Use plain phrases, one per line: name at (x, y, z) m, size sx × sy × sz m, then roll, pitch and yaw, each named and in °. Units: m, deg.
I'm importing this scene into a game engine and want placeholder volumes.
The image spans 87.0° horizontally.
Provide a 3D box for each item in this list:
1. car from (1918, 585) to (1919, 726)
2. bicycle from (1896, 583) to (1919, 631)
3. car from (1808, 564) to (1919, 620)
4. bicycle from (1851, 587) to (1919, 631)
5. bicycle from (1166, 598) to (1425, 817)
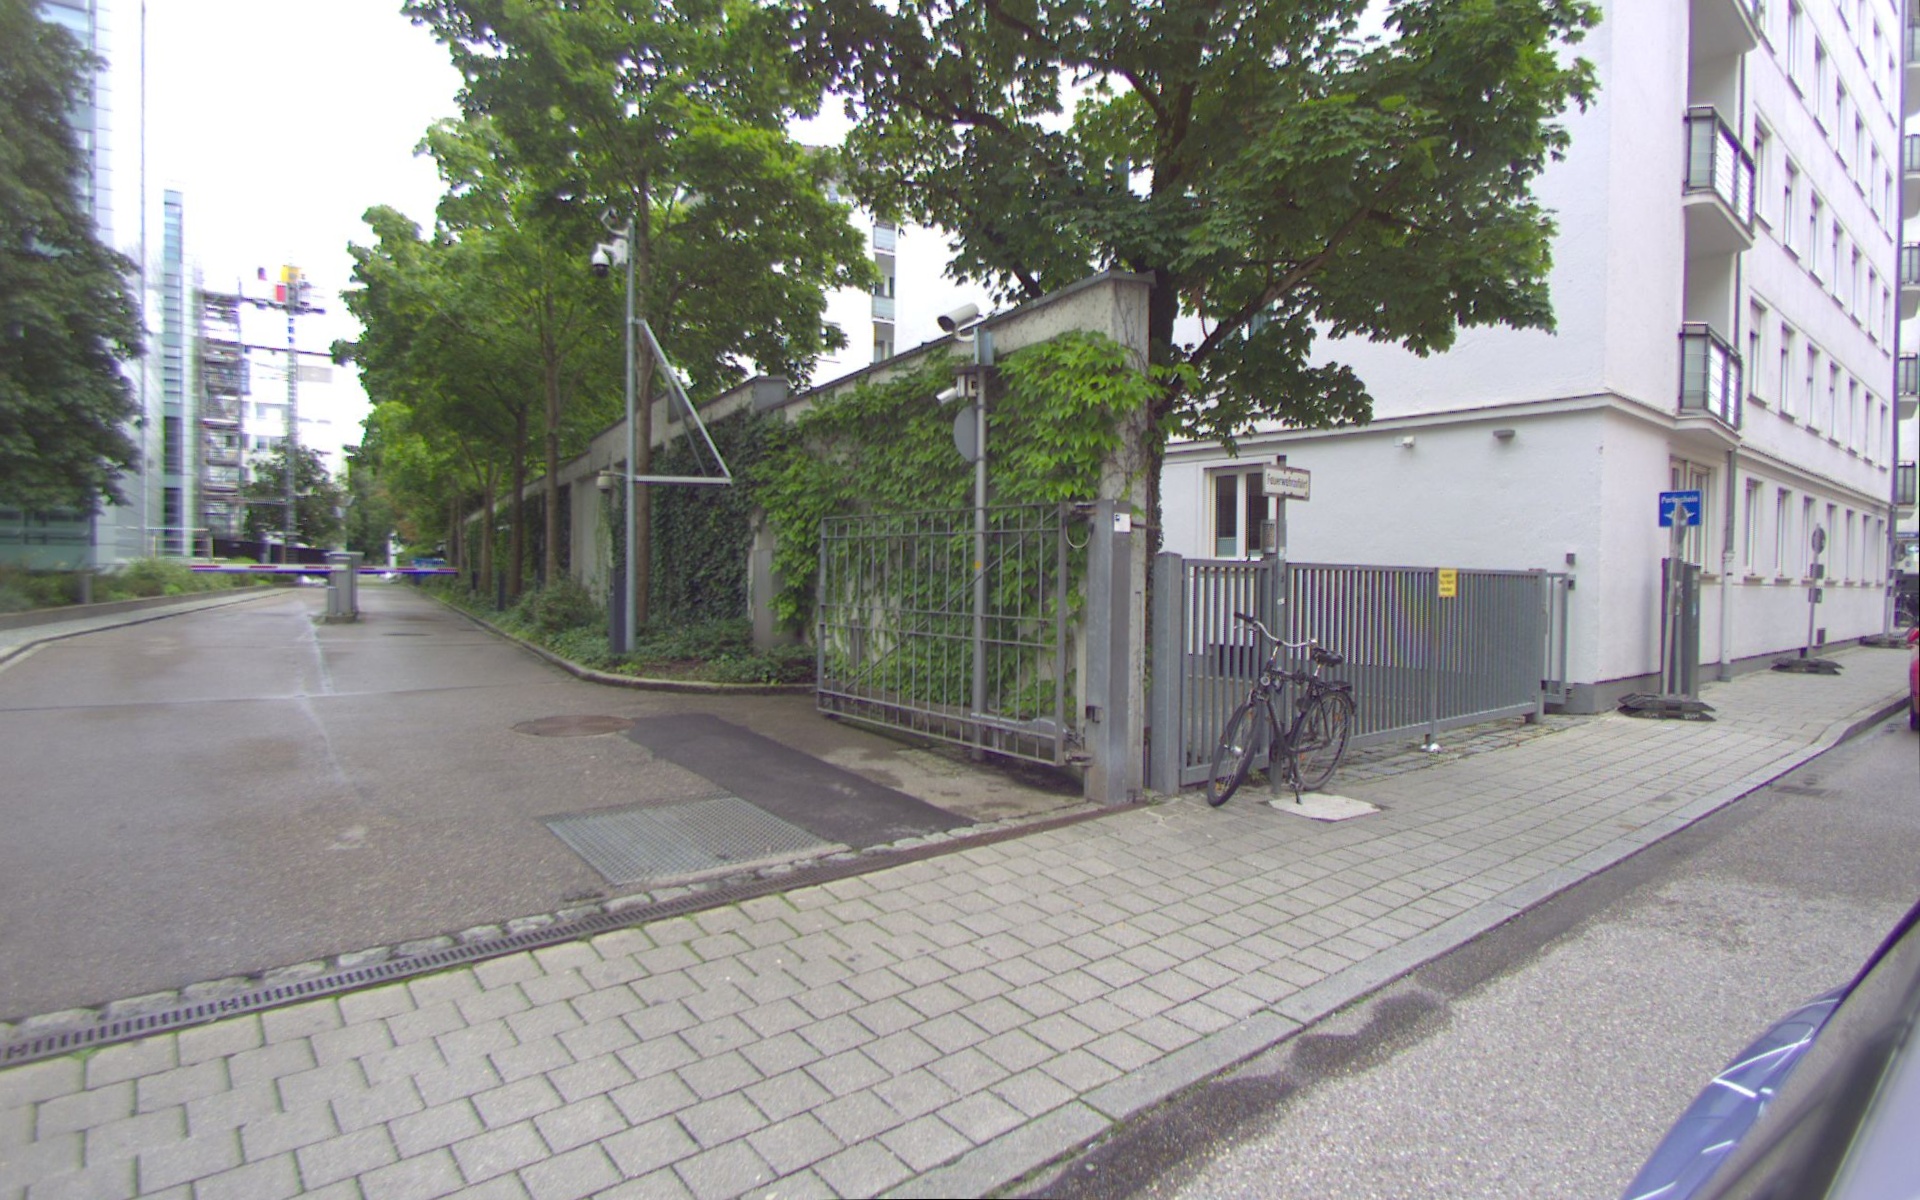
car at (12.076, 0.558, 11.468) m, size 1.761 × 1.465 × 4.231 m, roll 0°, pitch 1°, yaw 44°
bicycle at (25.890, 0.181, 27.333) m, size 0.395 × 1.219 × 1.494 m, roll 3°, pitch 4°, yaw 24°
car at (33.382, -0.292, 35.901) m, size 1.895 × 1.914 × 4.687 m, roll 0°, pitch 2°, yaw -32°
bicycle at (24.309, 0.224, 26.394) m, size 1.490 × 1.056 × 0.395 m, roll 4°, pitch 4°, yaw 32°
bicycle at (2.213, 0.643, 6.551) m, size 1.800 × 1.213 × 0.709 m, roll 3°, pitch -1°, yaw -40°
